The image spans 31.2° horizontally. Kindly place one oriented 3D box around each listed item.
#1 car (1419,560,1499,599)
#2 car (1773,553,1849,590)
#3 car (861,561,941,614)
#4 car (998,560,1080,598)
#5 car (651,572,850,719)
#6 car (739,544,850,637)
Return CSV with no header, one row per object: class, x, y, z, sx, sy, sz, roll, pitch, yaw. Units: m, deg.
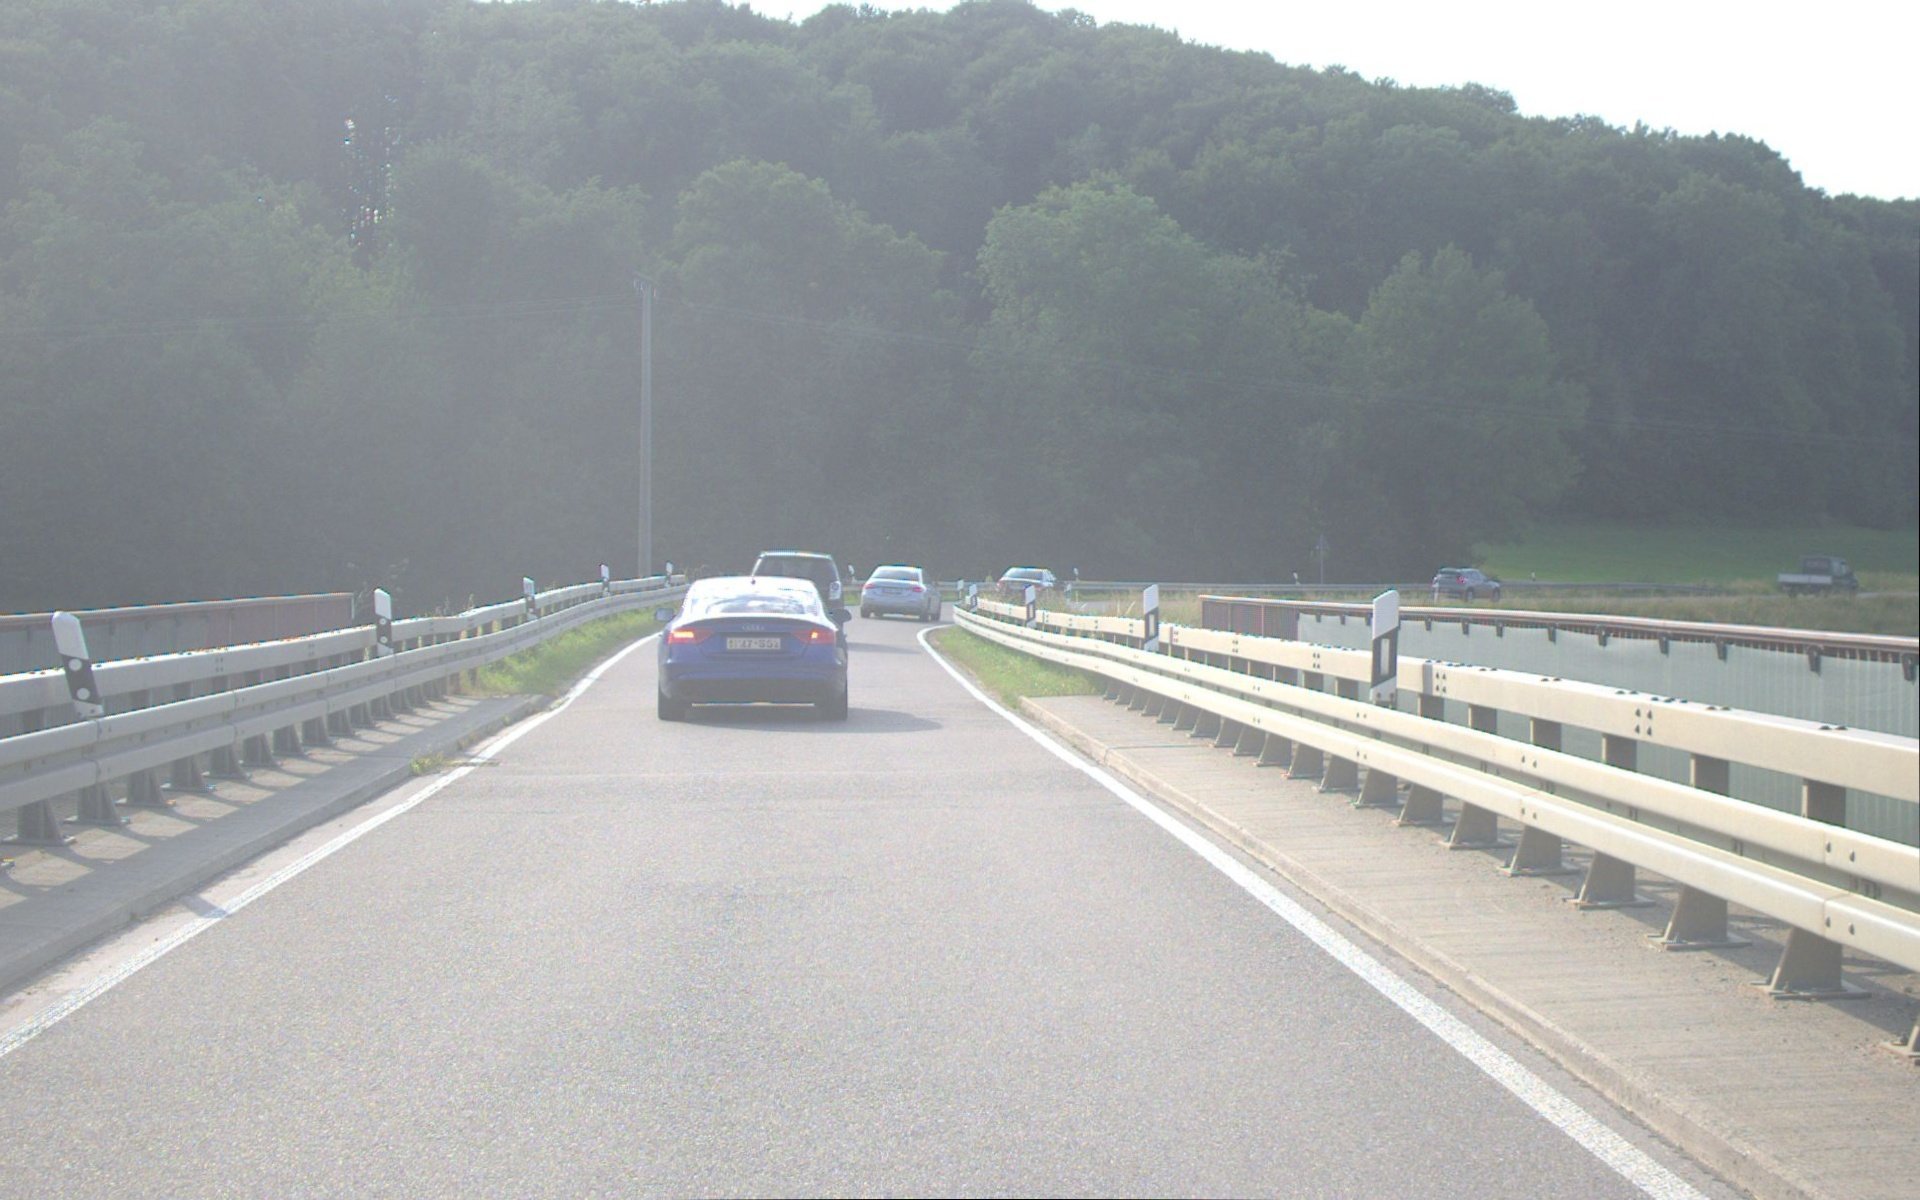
car,23.782,-0.959,163.680,1.998,1.673,4.169,3,1,36
car,46.753,-1.559,188.913,3.988,1.766,1.999,4,-2,-39
car,-1.577,-0.334,93.004,1.682,1.371,3.999,1,0,6
car,2.667,-0.718,115.986,1.473,1.223,3.294,1,0,27
car,-2.102,0.415,34.152,1.818,1.334,4.350,-1,0,-4
car,-2.919,-0.184,61.247,1.861,1.563,4.000,1,1,-2
